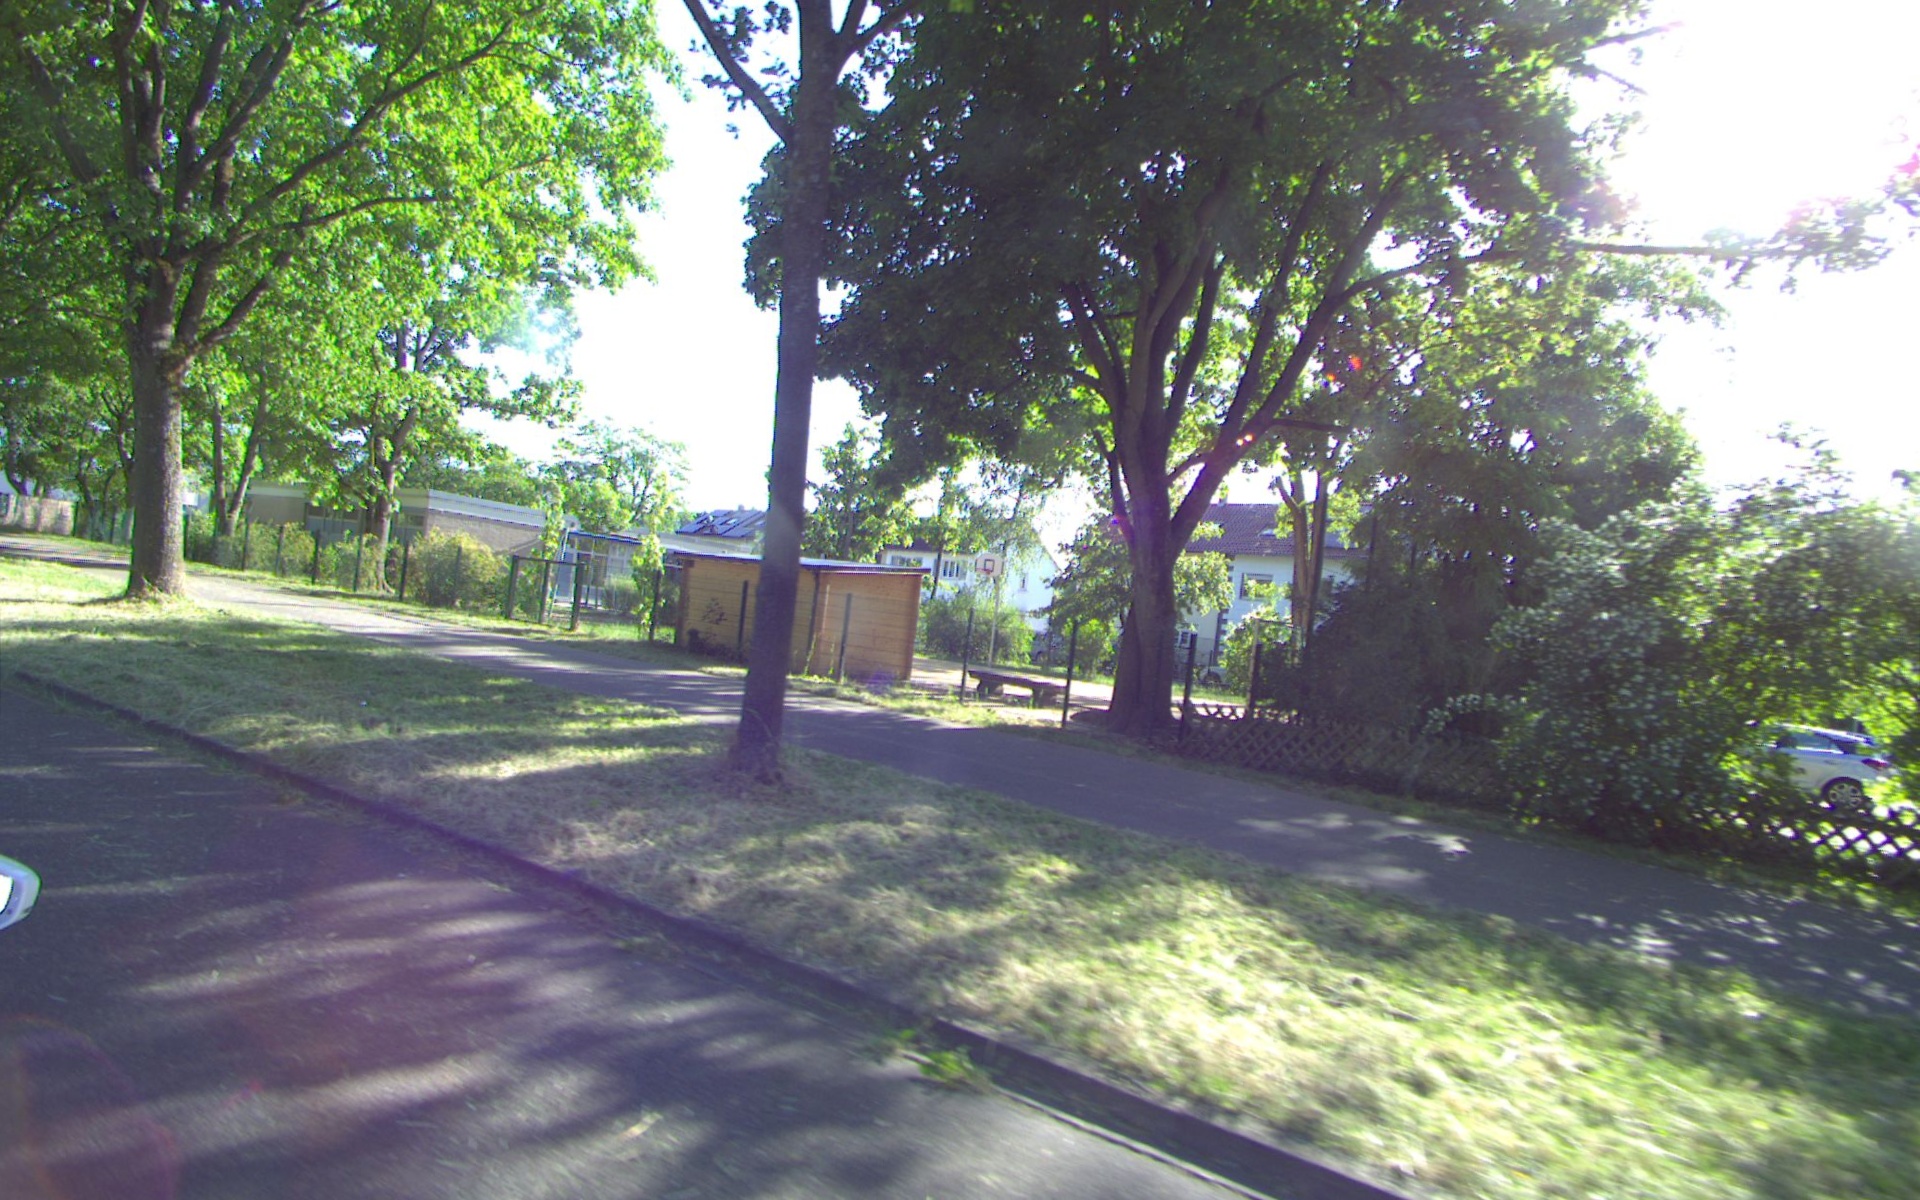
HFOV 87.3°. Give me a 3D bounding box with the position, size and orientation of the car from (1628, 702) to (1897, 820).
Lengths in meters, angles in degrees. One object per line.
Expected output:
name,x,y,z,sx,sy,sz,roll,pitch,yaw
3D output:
car,15.888,3.102,20.076,3.946,1.637,1.871,5,-1,42

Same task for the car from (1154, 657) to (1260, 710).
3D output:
car,10.539,3.572,43.094,1.890,1.771,3.957,6,-1,-40
